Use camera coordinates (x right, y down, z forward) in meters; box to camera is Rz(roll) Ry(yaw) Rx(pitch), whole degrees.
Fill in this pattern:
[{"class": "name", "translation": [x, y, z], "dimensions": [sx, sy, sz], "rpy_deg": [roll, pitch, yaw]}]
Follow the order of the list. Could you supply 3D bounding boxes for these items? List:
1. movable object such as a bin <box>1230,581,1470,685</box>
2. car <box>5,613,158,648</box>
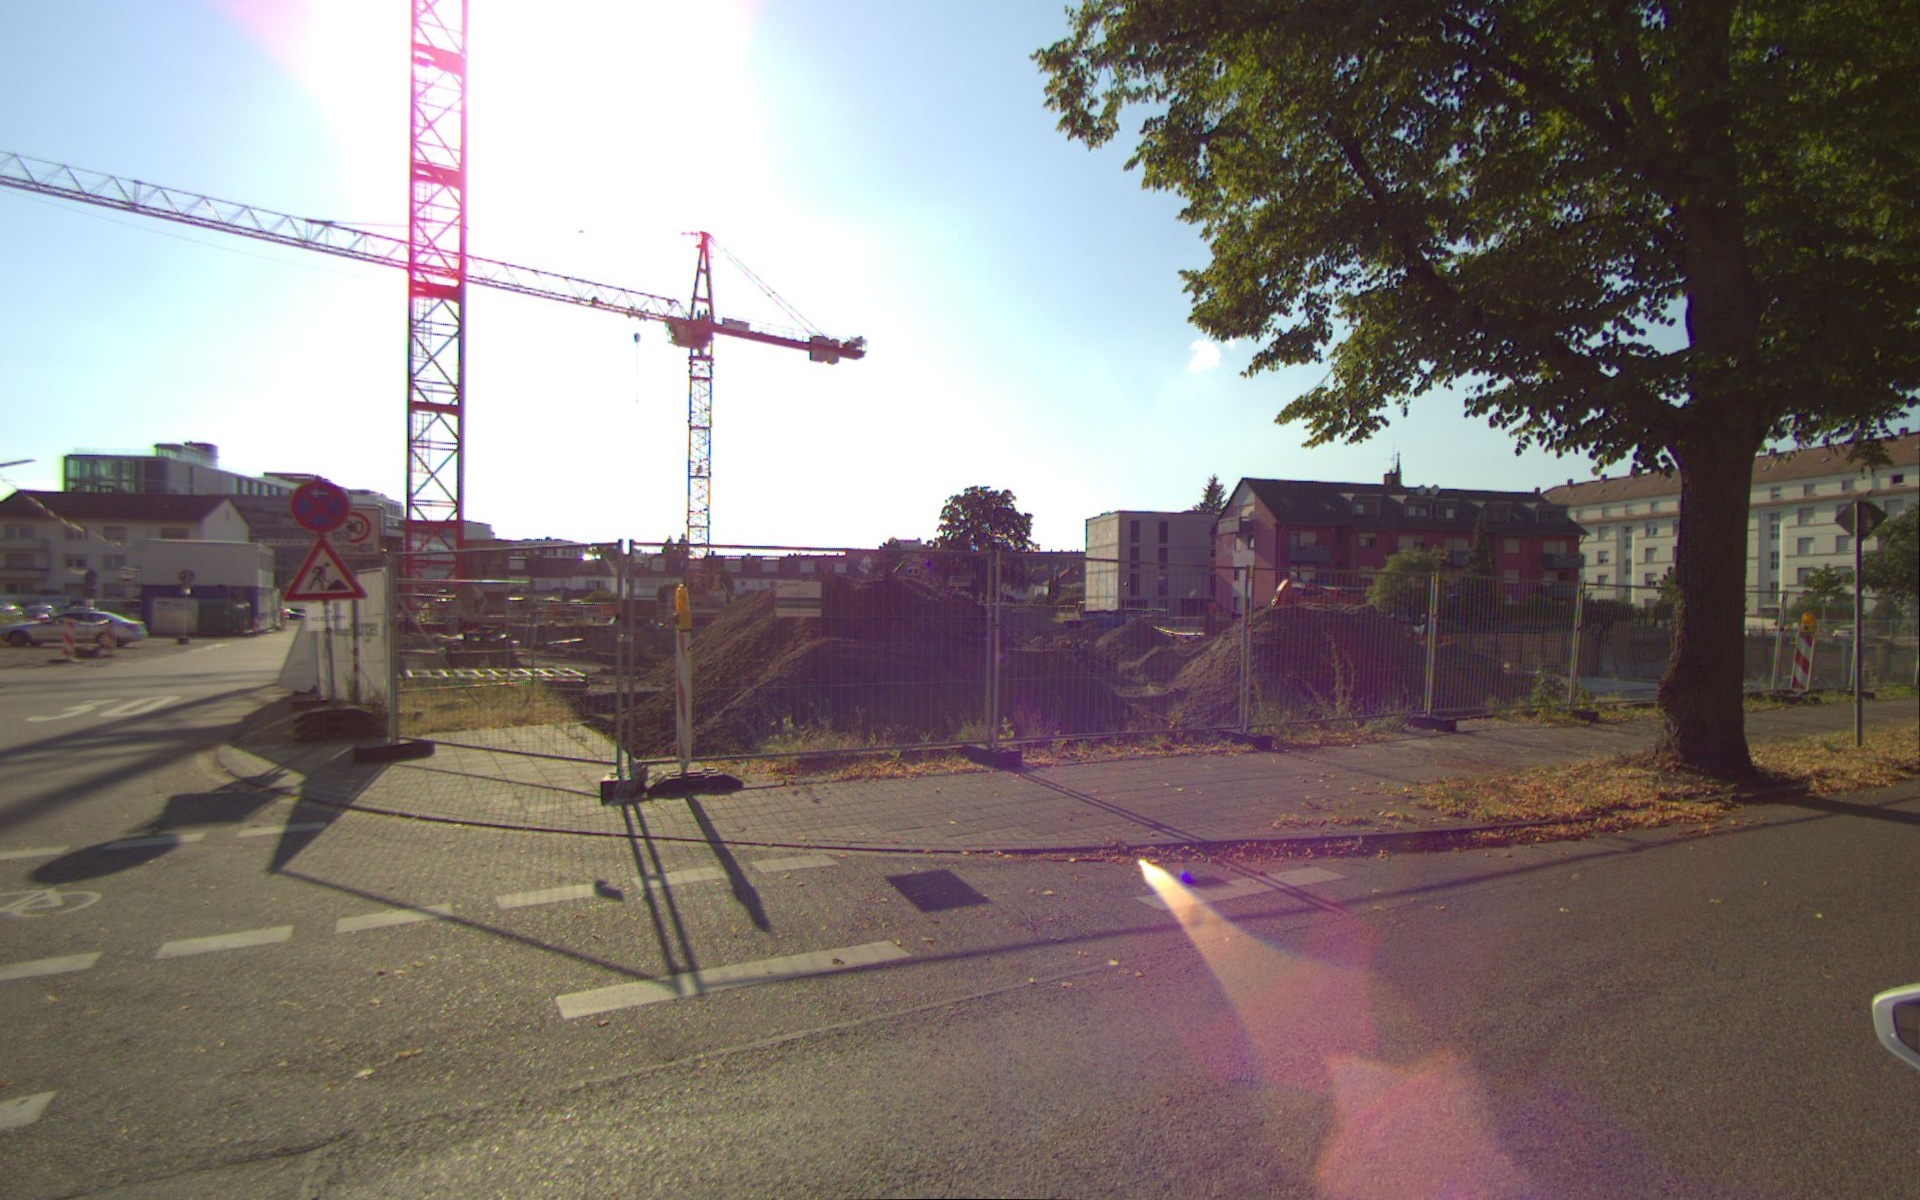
[{"class": "movable object such as a bin", "translation": [19.854, 1.684, 51.426], "dimensions": [11.347, 5.058, 3.017], "rpy_deg": [0, -3, -8]}, {"class": "car", "translation": [-35.861, 1.254, 41.165], "dimensions": [4.306, 1.360, 1.986], "rpy_deg": [1, -1, -27]}]
